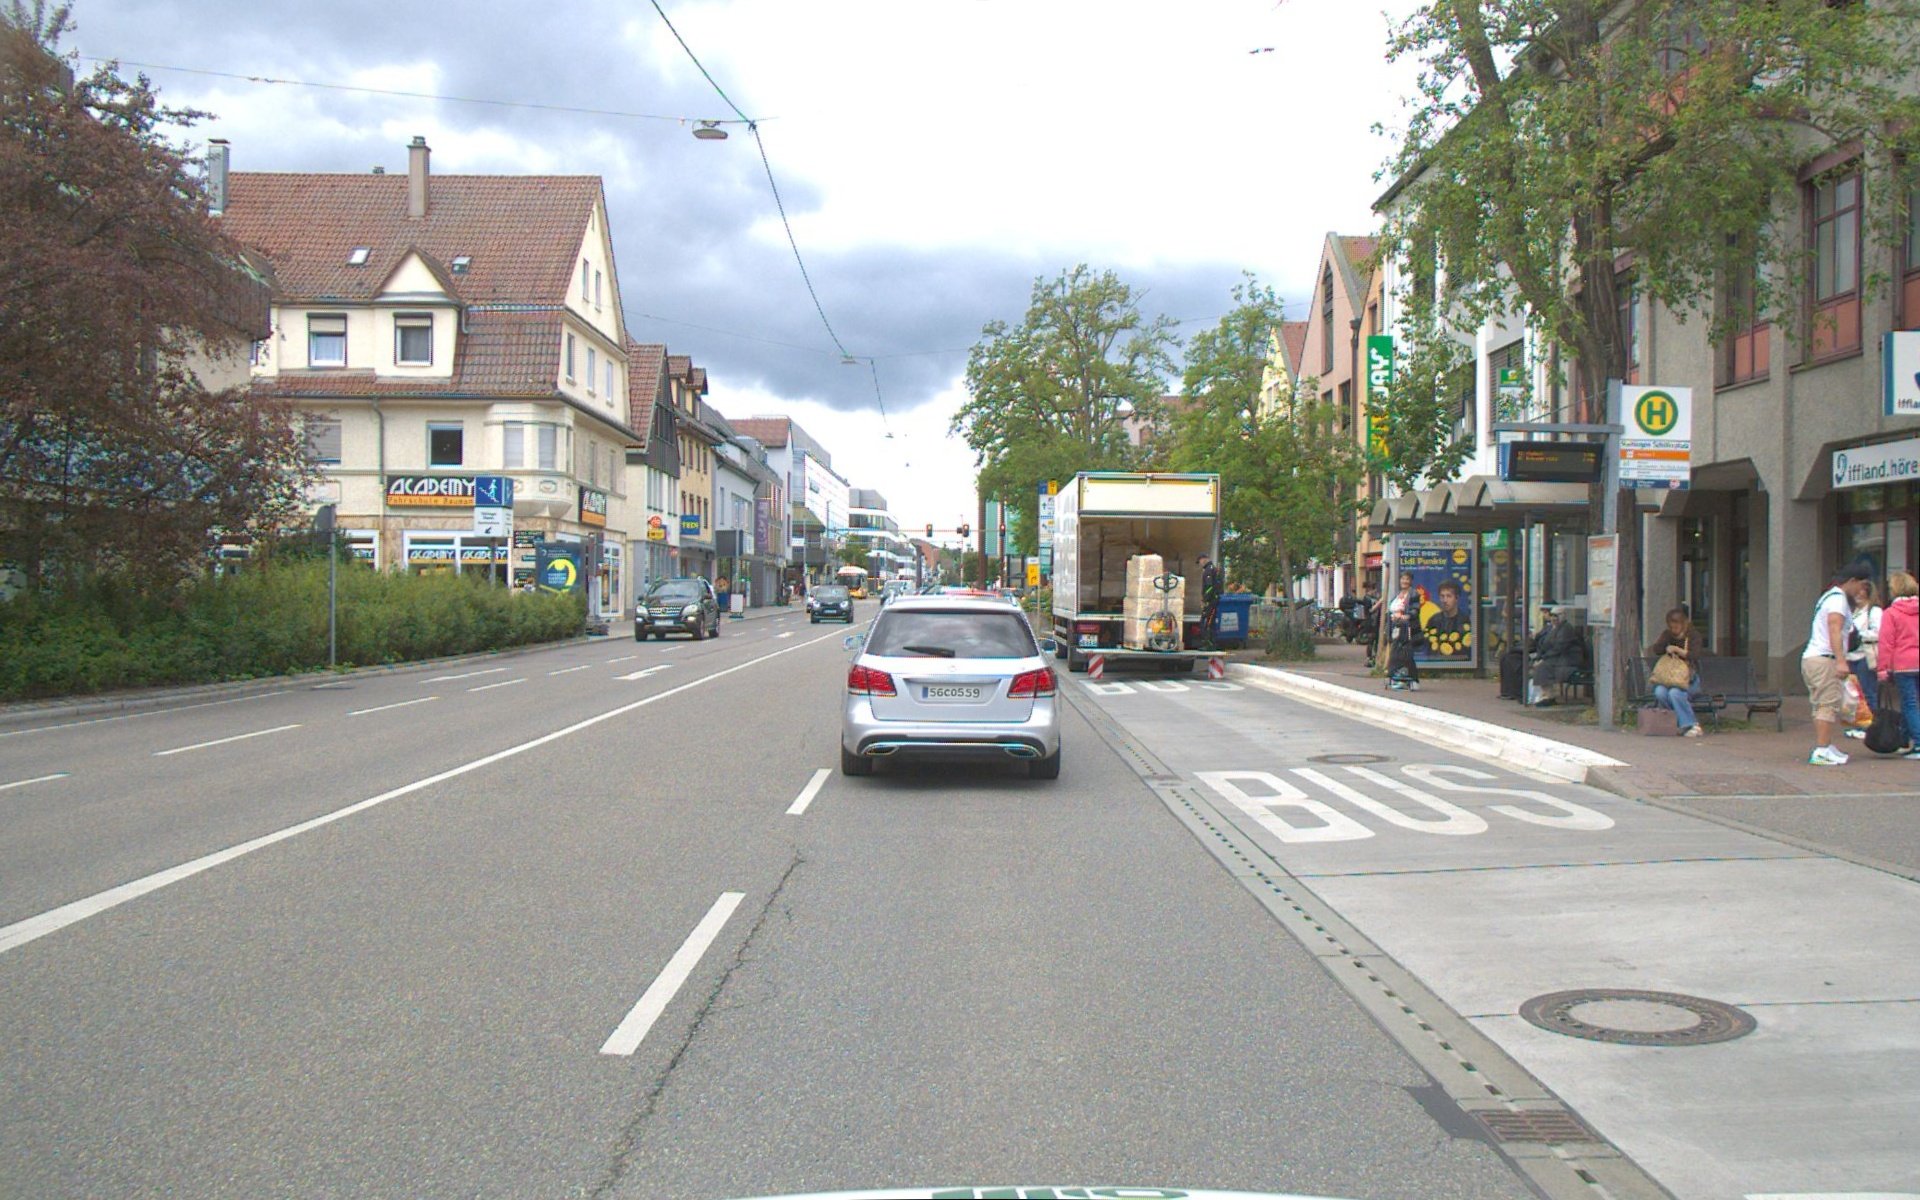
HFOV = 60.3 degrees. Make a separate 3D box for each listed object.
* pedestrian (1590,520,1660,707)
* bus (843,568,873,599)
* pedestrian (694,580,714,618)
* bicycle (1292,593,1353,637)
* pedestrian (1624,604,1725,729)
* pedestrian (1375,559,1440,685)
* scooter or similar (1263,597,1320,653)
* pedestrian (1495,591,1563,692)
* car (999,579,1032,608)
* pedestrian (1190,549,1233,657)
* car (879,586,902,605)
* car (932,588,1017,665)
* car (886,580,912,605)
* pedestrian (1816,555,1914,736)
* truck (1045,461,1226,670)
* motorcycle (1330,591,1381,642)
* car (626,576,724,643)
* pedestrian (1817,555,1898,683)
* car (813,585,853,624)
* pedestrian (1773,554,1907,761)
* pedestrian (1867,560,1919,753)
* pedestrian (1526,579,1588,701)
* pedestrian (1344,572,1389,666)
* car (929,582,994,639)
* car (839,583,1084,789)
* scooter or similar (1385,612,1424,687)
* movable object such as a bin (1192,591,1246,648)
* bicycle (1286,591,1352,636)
[{"bbox_3d":[7.572,0.154,18.851,0.600,2.083,0.588,-2,-1,13],"label":"pedestrian"},{"bbox_3d":[-10.707,-1.780,174.696,2.718,3.220,5.933,0,0,0],"label":"bus"},{"bbox_3d":[-11.537,-0.041,74.549,0.801,1.663,0.979,2,0,-5],"label":"pedestrian"},{"bbox_3d":[10.713,0.450,48.908,1.641,1.281,0.669,0,0,-4],"label":"bicycle"},{"bbox_3d":[7.040,0.644,16.310,0.698,1.186,0.587,1,1,-7],"label":"pedestrian"},{"bbox_3d":[6.074,0.296,22.456,0.527,1.663,0.583,3,1,-25],"label":"pedestrian"},{"bbox_3d":[7.377,0.549,36.828,1.154,1.217,0.459,0,0,-9],"label":"scooter or similar"},{"bbox_3d":[7.277,0.529,21.172,0.685,1.254,0.588,-2,0,9],"label":"pedestrian"},{"bbox_3d":[3.399,-0.400,102.260,1.952,1.713,4.000,0,0,0],"label":"car"},{"bbox_3d":[4.263,0.049,28.019,0.601,1.811,0.587,0,-1,-4],"label":"pedestrian"},{"bbox_3d":[-5.440,-0.393,129.709,1.583,1.453,3.923,0,0,1],"label":"car"},{"bbox_3d":[0.296,0.539,35.320,1.718,1.547,4.000,0,0,0],"label":"car"},{"bbox_3d":[-5.148,-0.616,139.761,1.921,1.995,5.140,-1,0,0],"label":"car"},{"bbox_3d":[8.515,0.419,15.584,0.600,1.663,0.588,1,0,4],"label":"pedestrian"},{"bbox_3d":[3.308,-0.651,33.709,2.633,3.623,9.766,0,1,0],"label":"truck"},{"bbox_3d":[10.343,0.424,43.325,0.722,1.293,2.106,0,0,-4],"label":"motorcycle"},{"bbox_3d":[-8.126,0.228,47.560,2.027,1.768,4.692,-2,0,-1],"label":"car"},{"bbox_3d":[11.873,0.248,21.898,0.712,1.663,0.614,0,0,-9],"label":"pedestrian"},{"bbox_3d":[-5.231,0.184,68.263,1.538,1.567,2.959,1,0,-2],"label":"car"},{"bbox_3d":[7.287,0.455,13.719,0.602,1.663,0.791,0,1,-13],"label":"pedestrian"},{"bbox_3d":[8.104,0.473,13.973,0.658,1.594,0.492,2,2,20],"label":"pedestrian"},{"bbox_3d":[7.163,0.475,19.866,0.600,1.425,0.588,-2,-1,13],"label":"pedestrian"},{"bbox_3d":[7.791,0.357,31.713,0.601,1.770,0.587,3,0,-4],"label":"pedestrian"},{"bbox_3d":[0.052,0.314,51.991,1.952,1.713,4.000,0,0,0],"label":"car"},{"bbox_3d":[-0.046,0.640,14.490,1.836,1.532,3.999,1,0,-2],"label":"car"},{"bbox_3d":[5.940,0.653,22.082,0.382,0.976,0.350,-1,0,-41],"label":"scooter or similar"},{"bbox_3d":[6.258,0.465,40.007,1.120,1.363,1.376,0,0,2],"label":"movable object such as a bin"},{"bbox_3d":[10.801,0.407,49.804,1.780,1.350,0.843,0,0,-4],"label":"bicycle"}]
